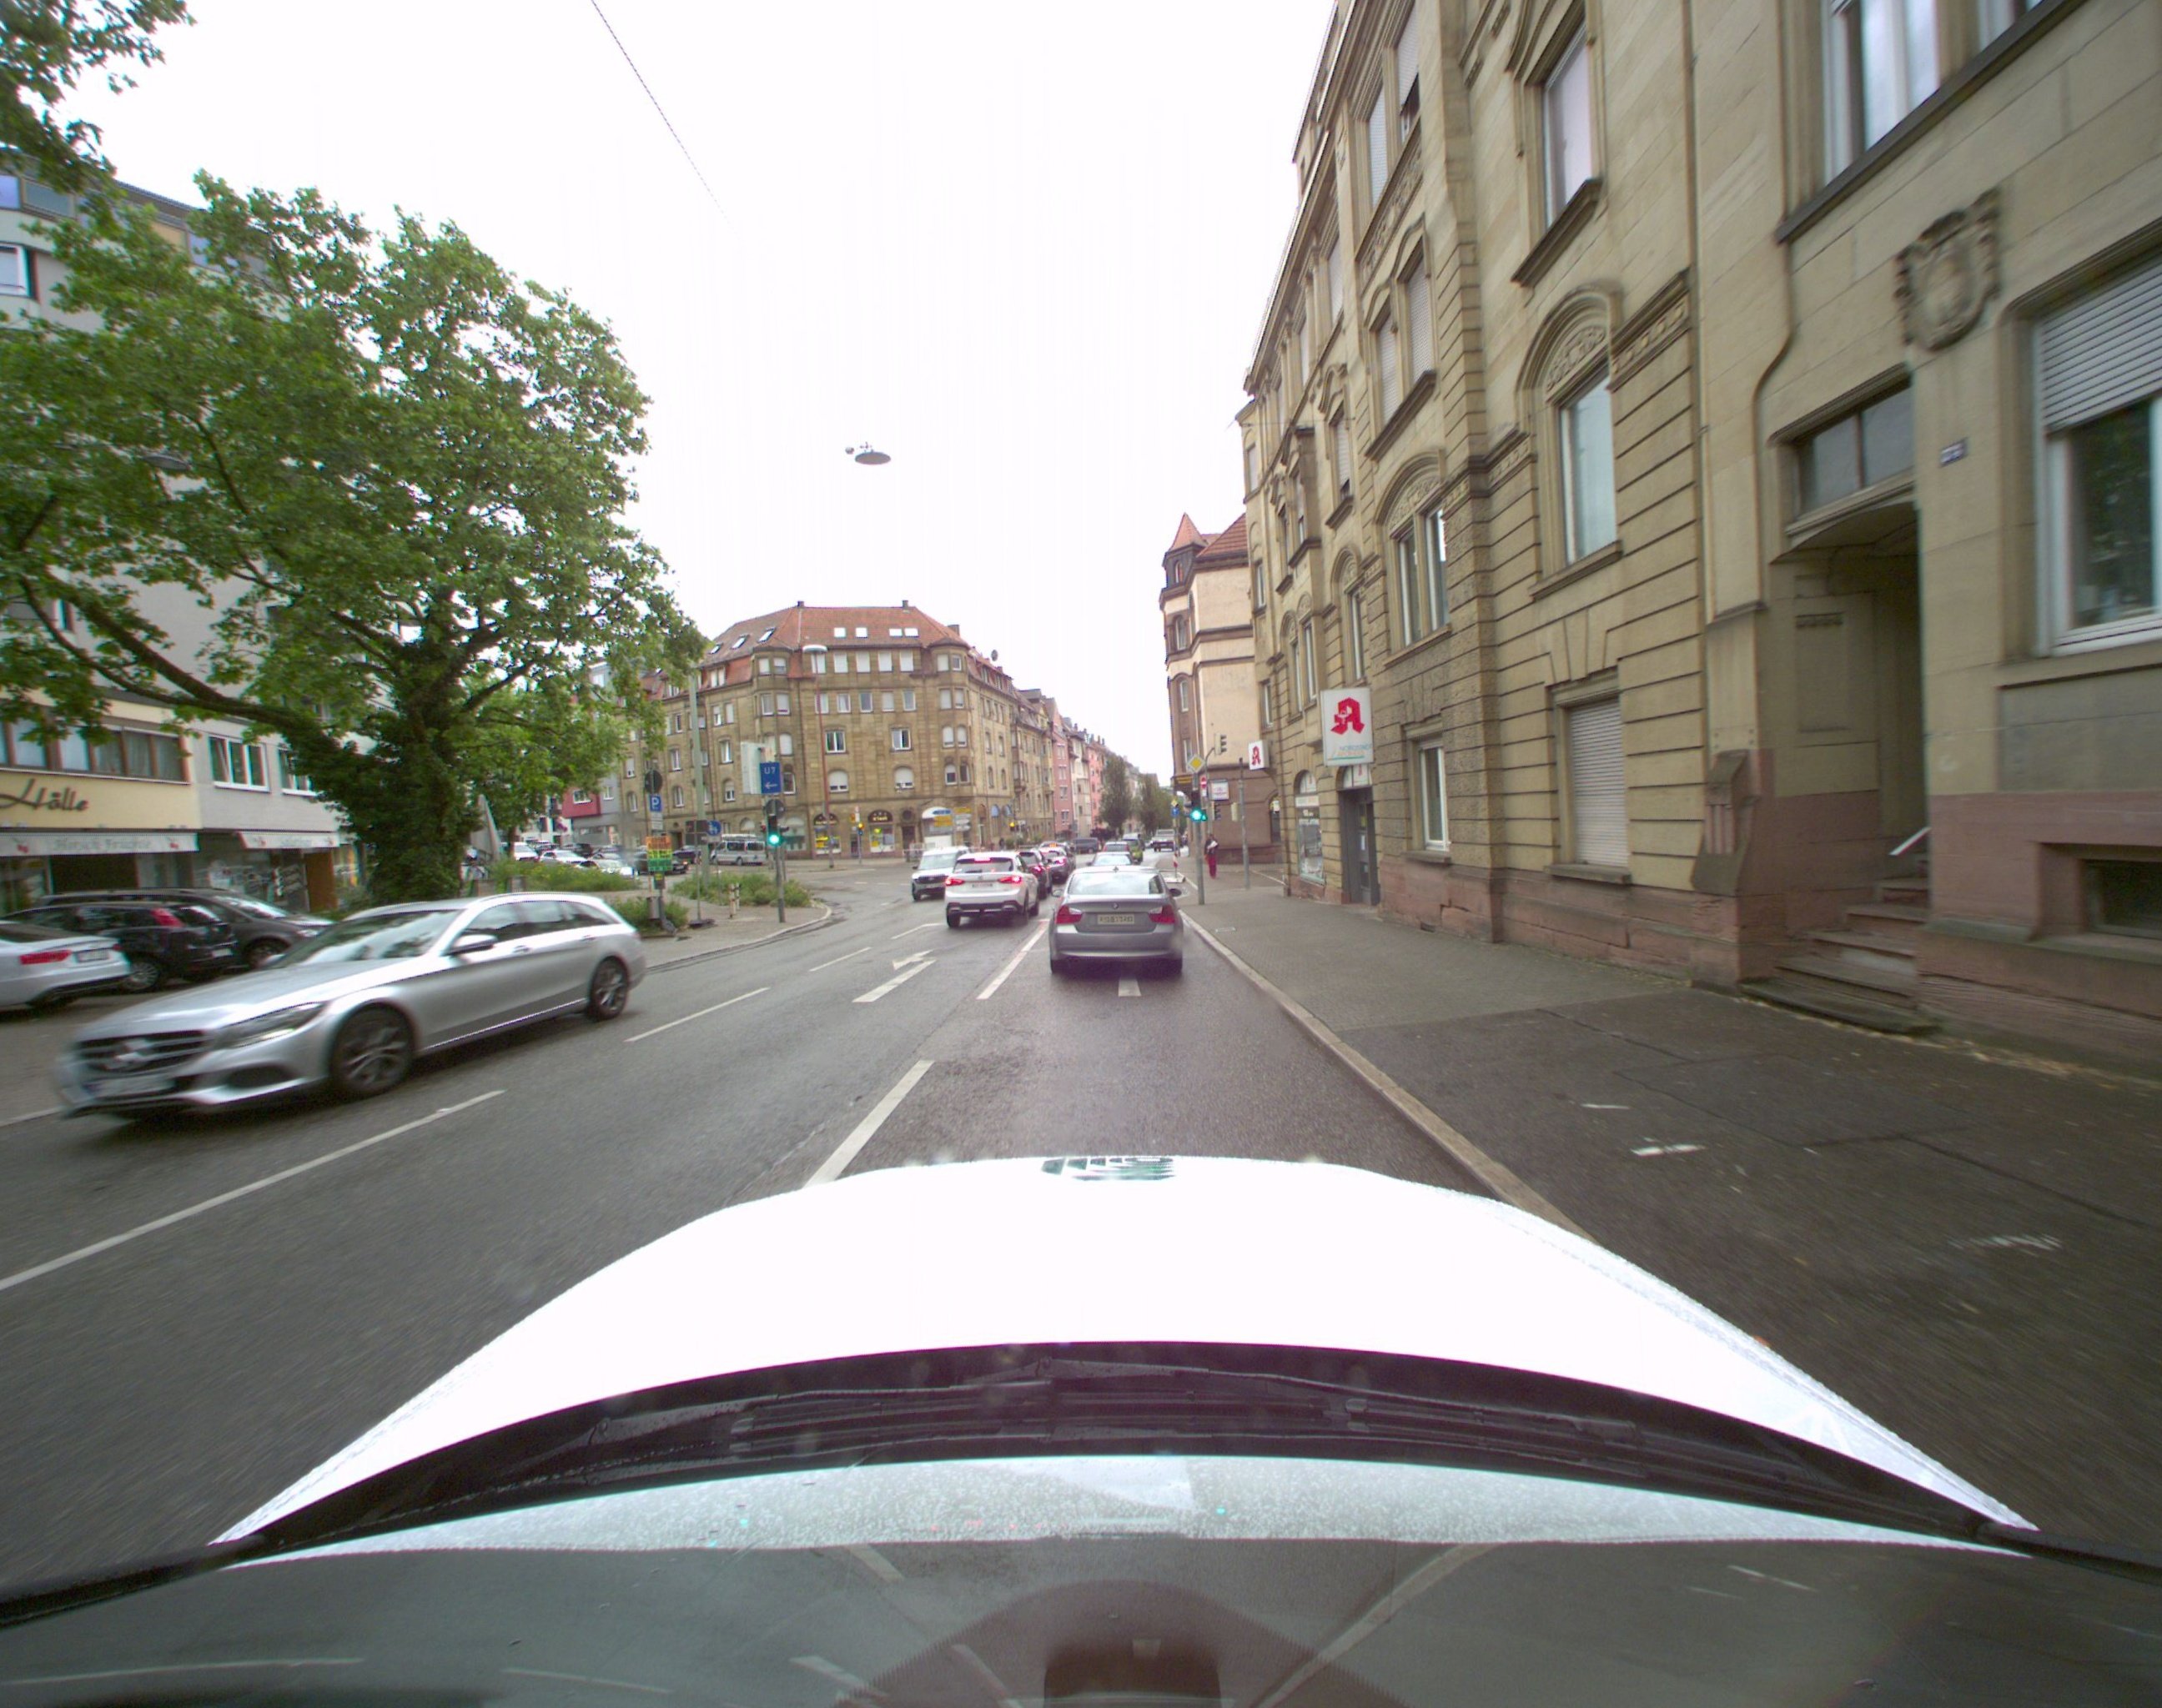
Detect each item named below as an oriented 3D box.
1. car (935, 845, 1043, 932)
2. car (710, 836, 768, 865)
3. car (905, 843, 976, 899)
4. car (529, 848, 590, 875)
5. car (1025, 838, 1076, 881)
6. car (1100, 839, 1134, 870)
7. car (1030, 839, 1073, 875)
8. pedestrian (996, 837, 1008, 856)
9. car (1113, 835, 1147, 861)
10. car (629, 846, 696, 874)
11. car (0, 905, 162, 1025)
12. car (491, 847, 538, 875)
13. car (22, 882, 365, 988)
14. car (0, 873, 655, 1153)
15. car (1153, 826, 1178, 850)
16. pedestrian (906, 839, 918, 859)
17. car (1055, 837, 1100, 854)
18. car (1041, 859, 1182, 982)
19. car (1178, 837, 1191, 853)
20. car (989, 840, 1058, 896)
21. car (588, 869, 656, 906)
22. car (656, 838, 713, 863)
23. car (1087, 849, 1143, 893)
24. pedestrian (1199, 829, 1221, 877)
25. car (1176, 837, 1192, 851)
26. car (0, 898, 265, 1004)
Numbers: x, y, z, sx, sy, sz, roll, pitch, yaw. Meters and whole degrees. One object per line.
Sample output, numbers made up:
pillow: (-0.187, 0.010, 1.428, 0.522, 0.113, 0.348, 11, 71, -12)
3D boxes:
car: (-2.037, 0.704, 19.189, 1.861, 1.625, 4.003, -4, 2, 2)
car: (-26.633, -0.298, 63.445, 4.237, 2.101, 2.013, 0, 2, 30)
car: (-5.310, 0.604, 31.366, 1.755, 1.925, 4.325, -3, 0, 2)
car: (-38.290, 0.556, 59.790, 4.194, 1.726, 2.013, -1, 2, 31)
car: (-1.229, 0.211, 34.603, 1.752, 1.707, 4.004, -2, 0, 3)
car: (1.885, 0.006, 41.557, 1.588, 1.464, 4.004, -2, 0, 4)
car: (-1.468, 0.148, 41.612, 1.752, 1.707, 4.004, -2, 0, 3)
pedestrian: (-6.494, -0.615, 66.988, 0.727, 1.577, 0.530, -3, 0, 11)
car: (3.210, -0.380, 52.750, 1.749, 1.567, 4.011, -2, 0, 9)
car: (-27.349, 0.375, 53.181, 4.194, 1.726, 2.013, -1, 2, 33)
car: (-15.765, 1.572, 10.919, 4.183, 1.456, 1.783, -2, -1, -19)
car: (-44.300, 0.544, 63.666, 3.948, 2.013, 1.587, -2, 0, 34)
car: (-17.052, 1.482, 15.948, 4.138, 1.653, 1.757, -2, -1, -21)
car: (-6.057, 1.070, 7.425, 1.731, 1.526, 4.473, -6, 0, 2)
car: (7.615, -1.416, 74.018, 1.986, 2.106, 4.002, -1, 0, 2)
pedestrian: (-13.428, -0.396, 64.667, 0.723, 1.577, 0.532, -3, -1, -36)
car: (-0.340, -0.976, 96.144, 5.157, 2.014, 2.699, 0, -1, 2)
car: (0.473, 0.801, 11.417, 1.616, 1.383, 3.619, -2, 0, 3)
car: (13.657, -1.119, 107.210, 1.715, 2.014, 4.009, 0, -1, 8)
car: (-1.873, 0.438, 27.592, 1.752, 1.707, 4.004, -2, 0, 3)
car: (-27.325, 1.985, 48.454, 3.948, 2.013, 1.890, -3, 0, 34)
car: (-31.687, -0.301, 65.037, 4.237, 1.838, 2.013, 0, 2, 30)
car: (1.221, 0.536, 28.166, 1.752, 1.383, 4.004, -2, 0, 3)
pedestrian: (5.274, -0.048, 33.374, 0.739, 1.910, 0.659, -3, 0, 1)
car: (11.769, -1.099, 93.229, 1.717, 1.552, 4.004, 0, -1, 4)
car: (-16.605, 1.587, 13.457, 3.984, 1.450, 1.758, -2, -1, -19)
